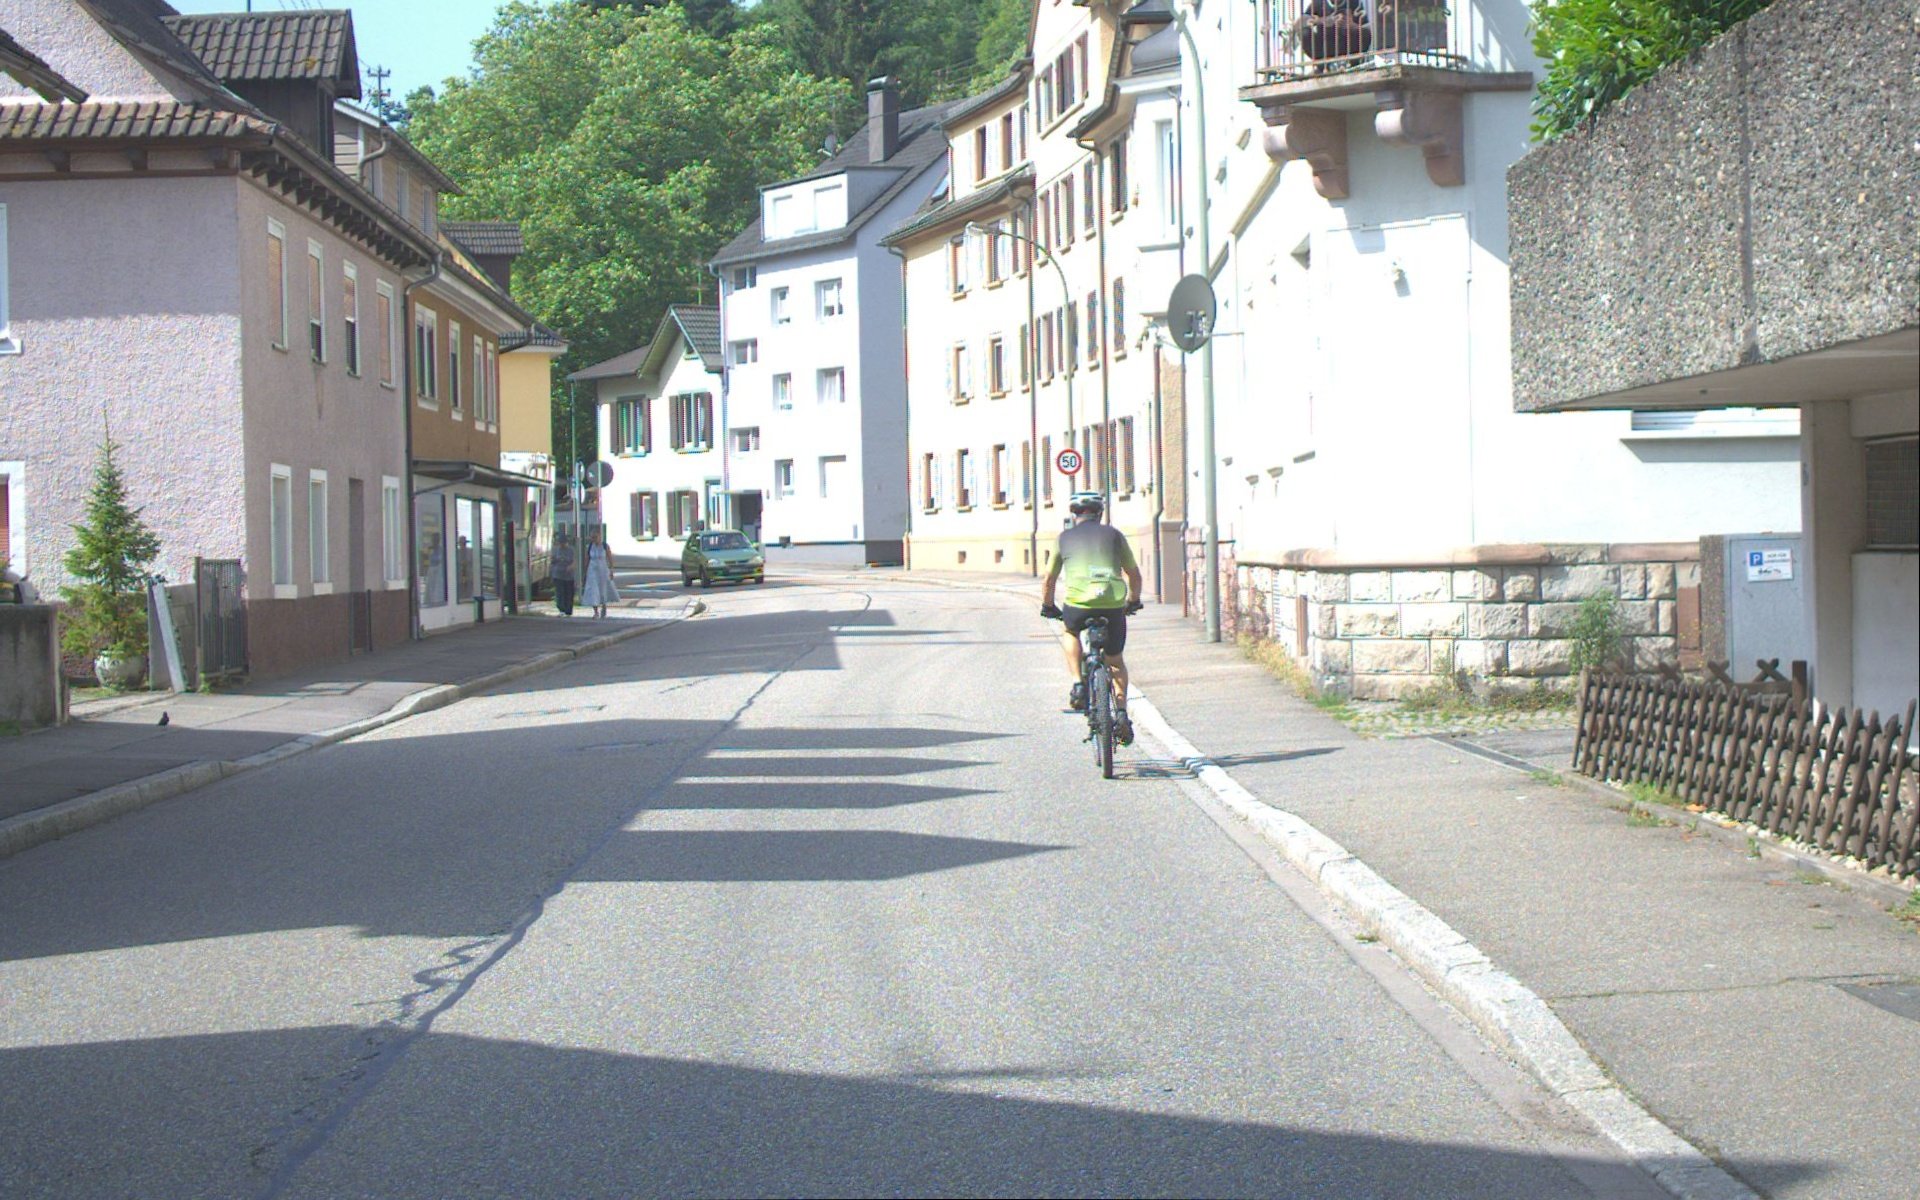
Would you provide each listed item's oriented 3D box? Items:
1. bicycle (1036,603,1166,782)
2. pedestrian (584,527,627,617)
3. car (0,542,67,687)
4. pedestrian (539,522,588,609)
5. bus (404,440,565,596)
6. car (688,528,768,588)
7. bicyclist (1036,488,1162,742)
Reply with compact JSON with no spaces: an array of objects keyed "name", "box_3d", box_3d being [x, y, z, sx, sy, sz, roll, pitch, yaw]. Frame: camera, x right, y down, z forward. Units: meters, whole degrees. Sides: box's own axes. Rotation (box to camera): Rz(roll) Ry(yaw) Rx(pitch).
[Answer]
[{"name":"bicycle","box_3d":[0.866,0.559,21.466,0.698,1.032,1.471,0,1,-2]},{"name":"pedestrian","box_3d":[-6.471,-0.520,62.804,0.639,1.621,0.777,2,1,0]},{"name":"car","box_3d":[-11.007,0.123,34.418,3.750,1.388,1.646,0,2,-3]},{"name":"pedestrian","box_3d":[-7.254,-0.636,62.907,0.735,1.559,0.824,2,1,0]},{"name":"bus","box_3d":[-10.373,-1.800,75.802,2.820,3.217,9.037,1,1,-3]},{"name":"car","box_3d":[-6.137,-1.105,90.646,1.596,1.459,3.661,-4,1,-10]},{"name":"bicyclist","box_3d":[0.856,0.085,21.302,0.685,1.526,0.716,-2,1,-2]}]
